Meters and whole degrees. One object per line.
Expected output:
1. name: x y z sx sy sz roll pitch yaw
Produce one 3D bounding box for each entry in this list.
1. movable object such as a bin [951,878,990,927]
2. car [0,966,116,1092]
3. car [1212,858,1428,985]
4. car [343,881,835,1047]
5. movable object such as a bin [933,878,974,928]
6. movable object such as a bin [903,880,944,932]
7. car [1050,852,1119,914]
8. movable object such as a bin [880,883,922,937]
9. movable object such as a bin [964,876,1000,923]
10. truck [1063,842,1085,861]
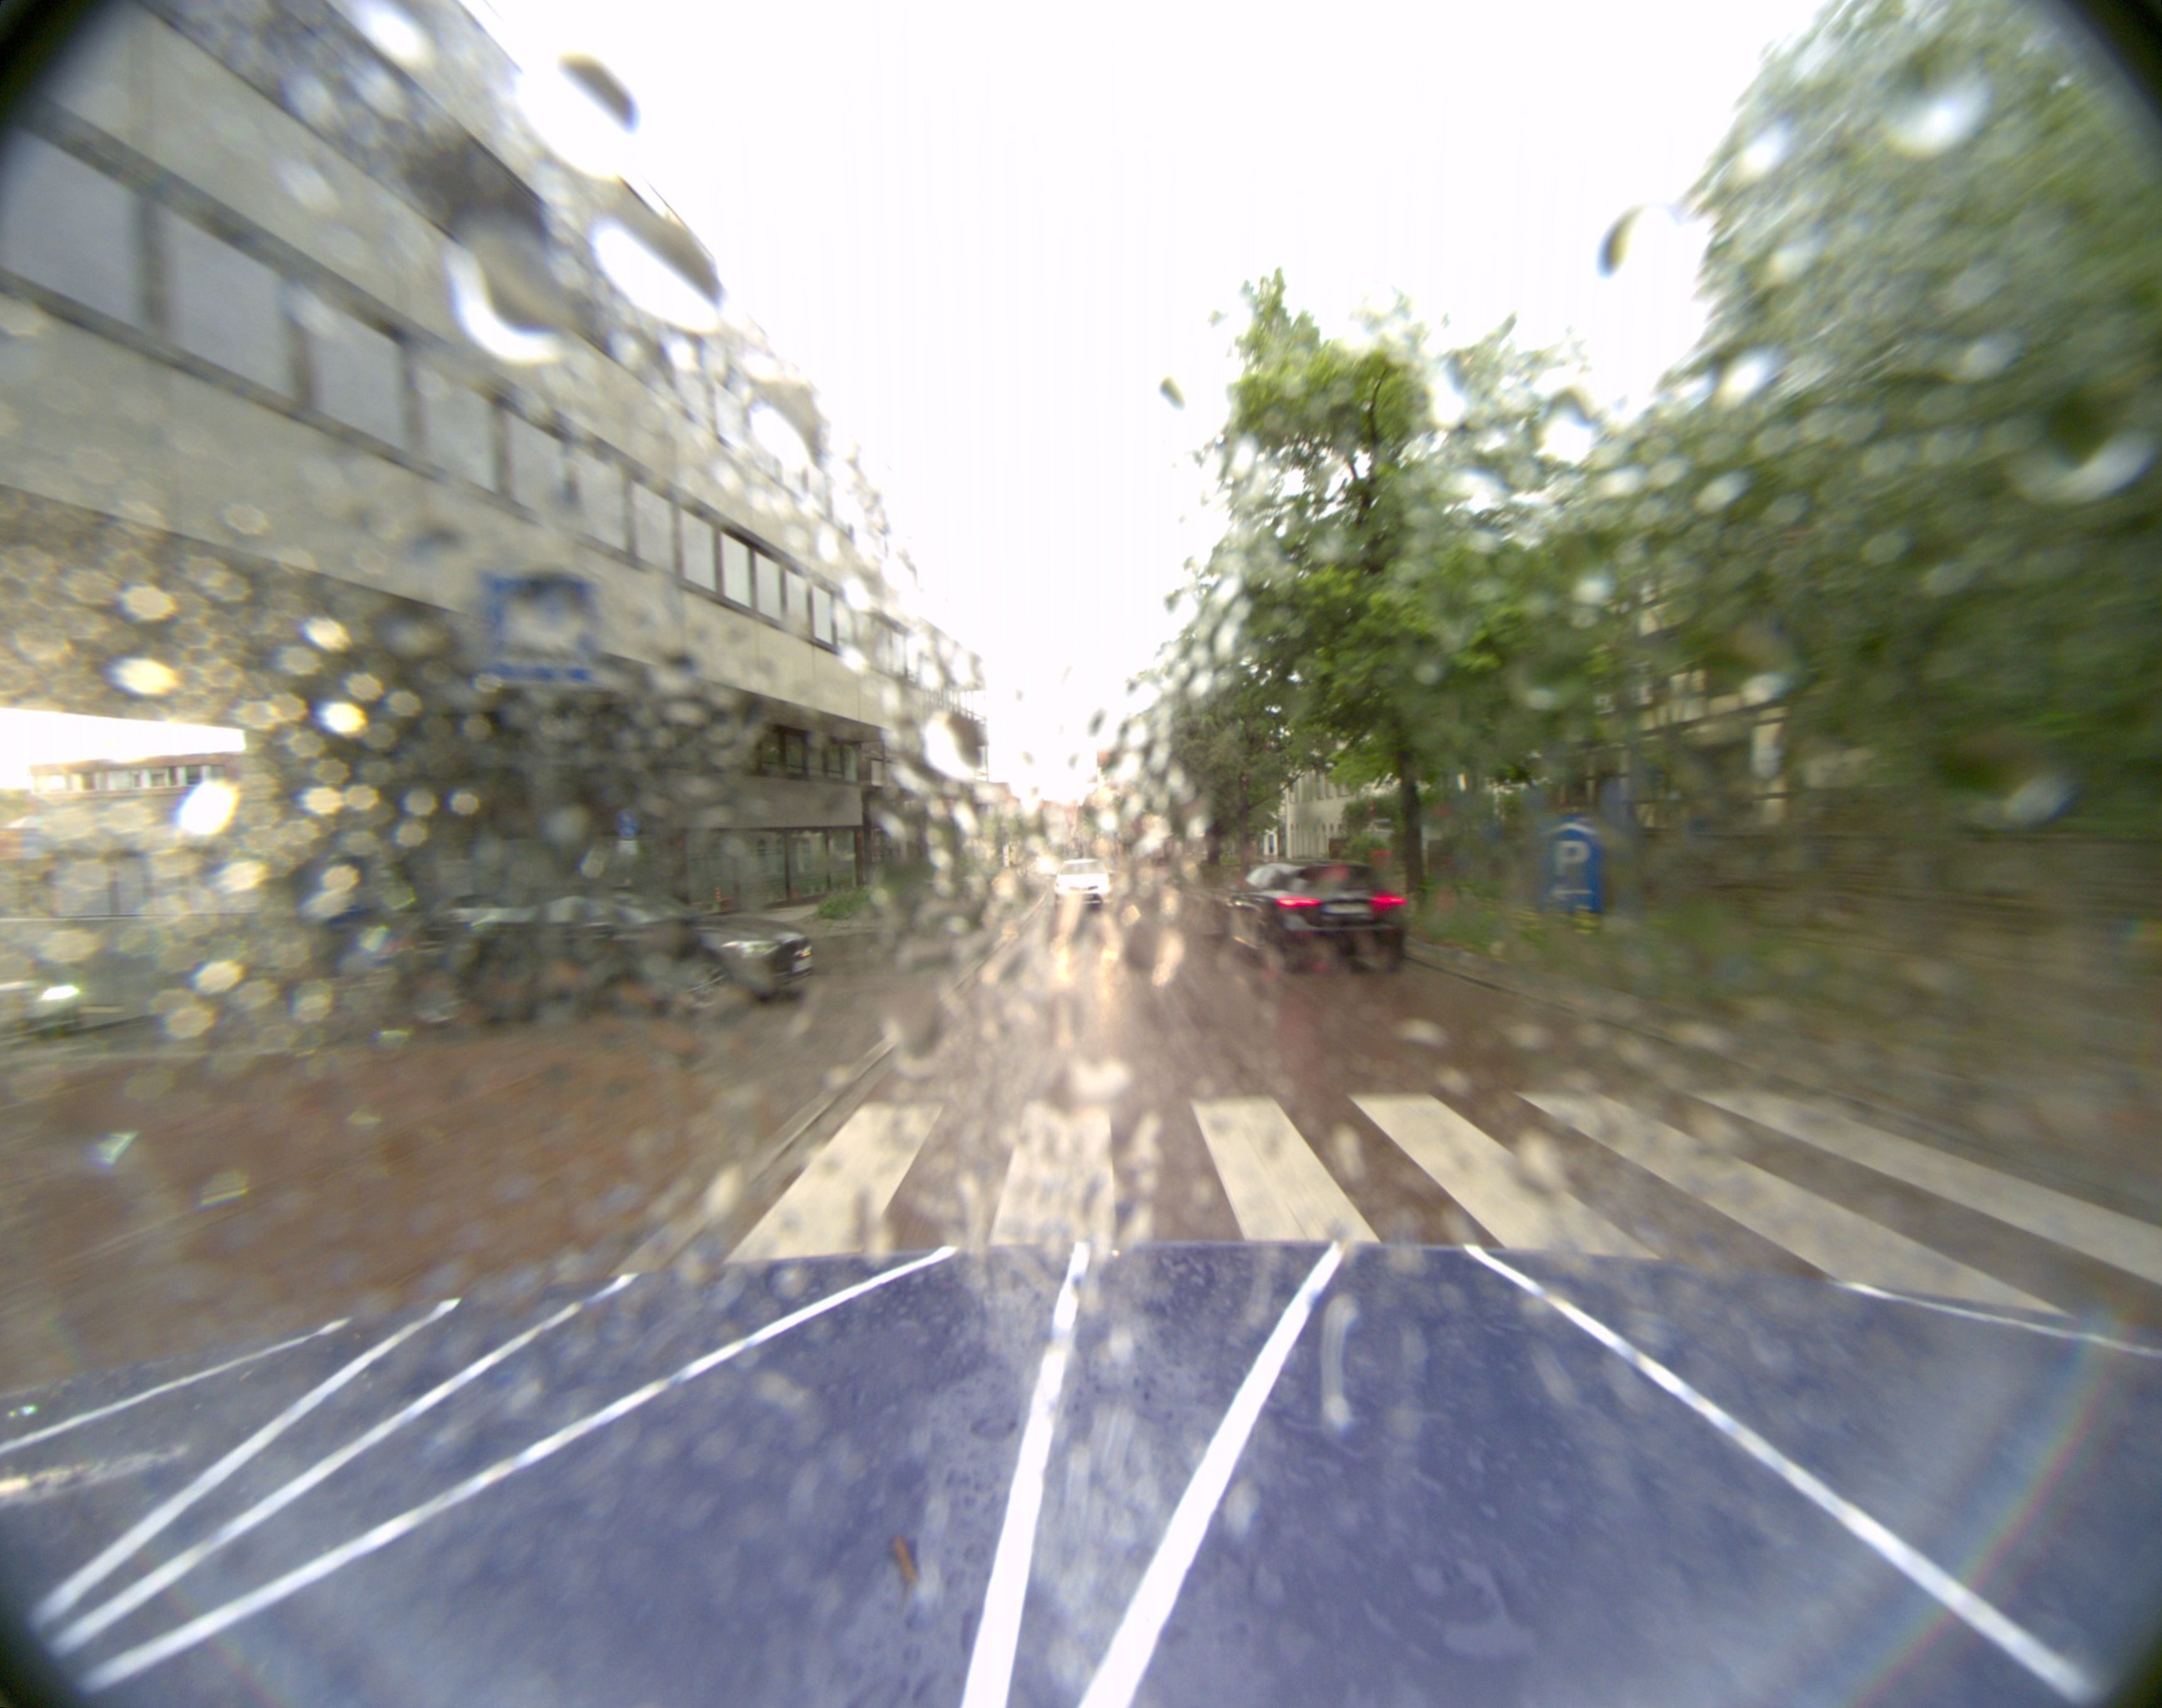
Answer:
1. movable object such as a bin: -2.649 1.157 18.281 0.704 1.101 0.572 0 2 28
2. car: -15.818 2.415 10.258 3.993 1.434 1.745 -3 2 11
3. car: 3.220 0.816 11.234 1.860 1.377 4.409 -4 0 2
4. car: -5.274 1.149 8.604 4.294 1.408 1.840 -3 0 0
5. movable object such as a bin: -2.965 1.126 17.682 0.704 1.104 0.572 0 2 26
6. movable object such as a bin: -3.551 1.165 17.136 0.704 1.096 0.572 1 2 44
7. car: 0.019 0.816 23.838 1.868 1.577 4.612 -3 1 -3
8. movable object such as a bin: -3.898 1.194 16.424 0.704 1.096 0.572 1 2 44
9. movable object such as a bin: -2.494 1.140 19.161 0.704 1.118 0.572 0 2 17
10. truck: -1.055 -0.309 109.830 2.407 2.579 6.480 -2 -1 -7
